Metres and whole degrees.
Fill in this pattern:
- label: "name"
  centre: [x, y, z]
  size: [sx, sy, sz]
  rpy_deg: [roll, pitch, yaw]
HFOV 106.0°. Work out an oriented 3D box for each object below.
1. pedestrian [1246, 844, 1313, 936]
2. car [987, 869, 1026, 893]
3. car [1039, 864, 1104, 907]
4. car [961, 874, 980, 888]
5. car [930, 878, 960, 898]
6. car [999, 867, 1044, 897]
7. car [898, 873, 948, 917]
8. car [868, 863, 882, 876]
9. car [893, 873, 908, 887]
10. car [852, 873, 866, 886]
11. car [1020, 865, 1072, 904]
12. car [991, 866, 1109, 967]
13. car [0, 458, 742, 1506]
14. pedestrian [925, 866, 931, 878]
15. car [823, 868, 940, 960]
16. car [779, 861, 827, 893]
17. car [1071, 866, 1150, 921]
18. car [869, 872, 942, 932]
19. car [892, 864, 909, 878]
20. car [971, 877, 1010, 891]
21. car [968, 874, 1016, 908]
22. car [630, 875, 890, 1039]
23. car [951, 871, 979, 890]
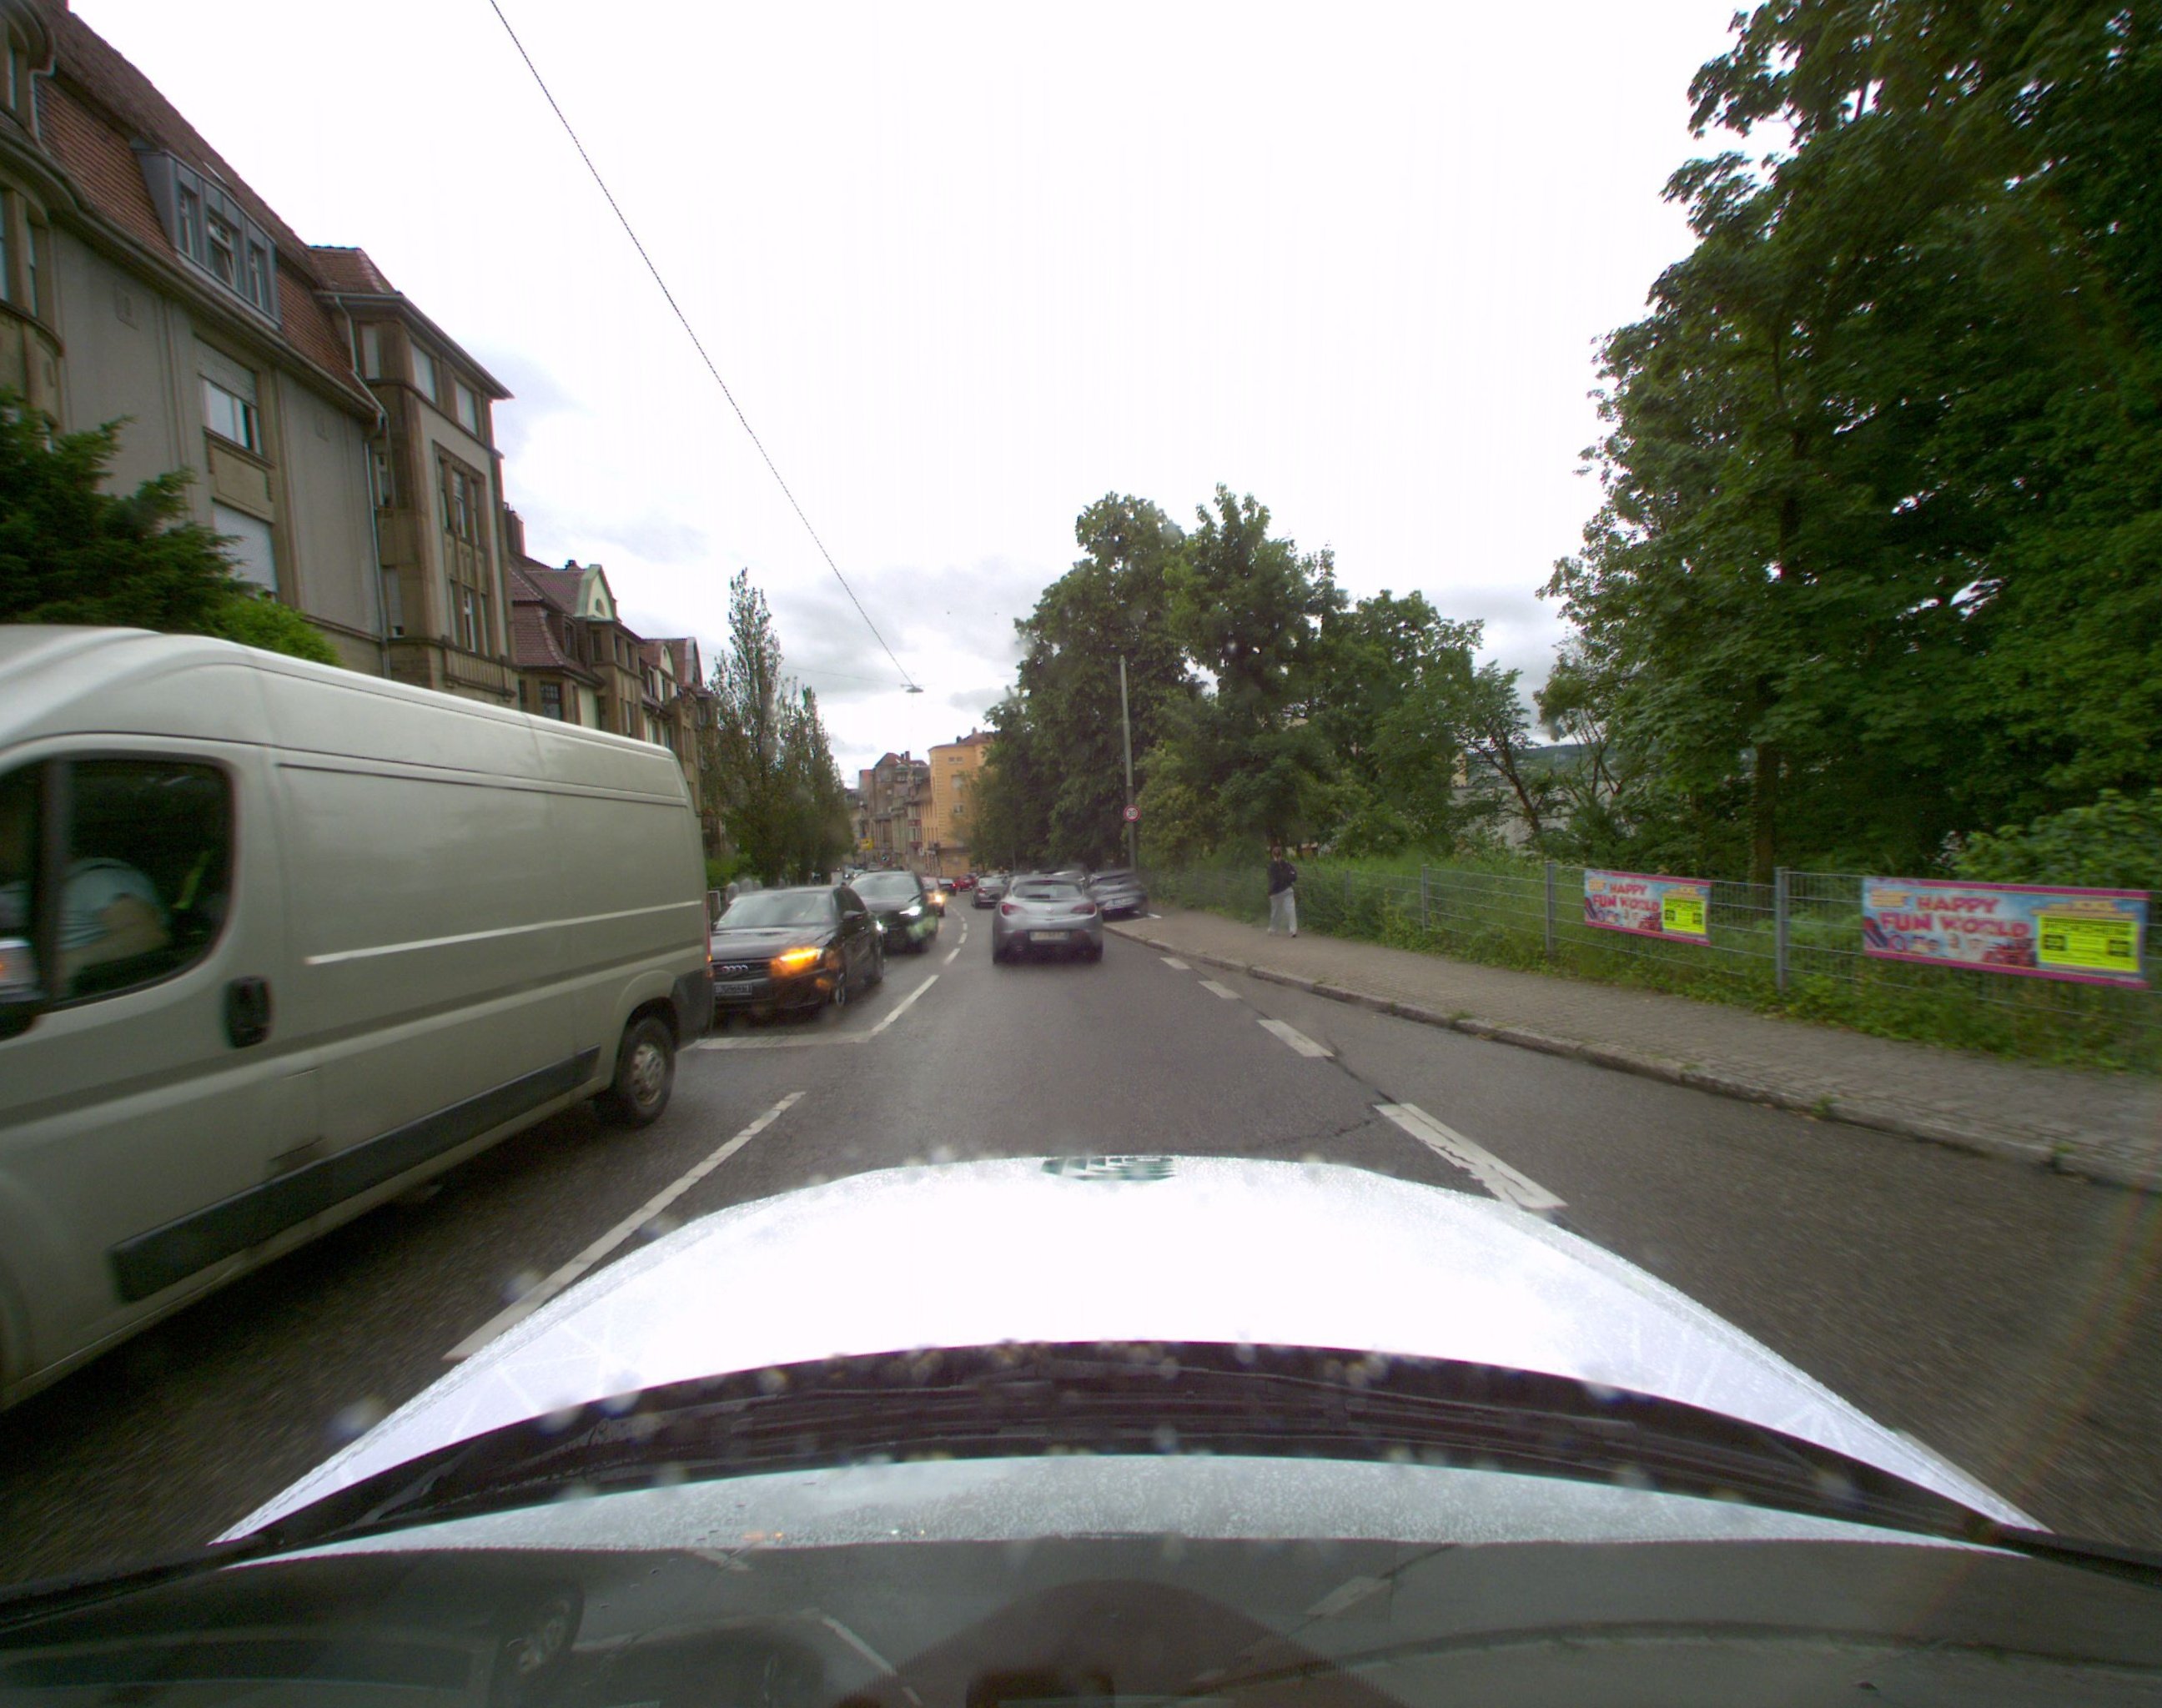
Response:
- label: "pedestrian"
  centre: [3.693, 0.659, 15.223]
  size: [0.765, 1.605, 0.963]
  rpy_deg: [-6, -1, -7]
- label: "car"
  centre: [-5.292, 1.911, 57.198]
  size: [1.979, 1.452, 4.093]
  rpy_deg: [-6, -1, -14]
- label: "car"
  centre: [-0.492, 1.380, 35.416]
  size: [1.818, 1.494, 3.981]
  rpy_deg: [-9, -1, -13]
- label: "car"
  centre: [-12.519, 3.037, 92.359]
  size: [1.772, 1.429, 3.782]
  rpy_deg: [-2, 0, -2]
- label: "car"
  centre: [-10.790, 2.664, 64.450]
  size: [1.773, 1.415, 3.693]
  rpy_deg: [-1, 0, -19]
- label: "car"
  centre: [-3.765, 1.765, 51.059]
  size: [1.979, 1.609, 4.463]
  rpy_deg: [-6, -1, -14]
- label: "car"
  centre: [-6.201, 1.573, 32.284]
  size: [1.654, 1.568, 3.988]
  rpy_deg: [-3, -1, -8]
- label: "car"
  centre: [-33.203, 2.476, 131.093]
  size: [1.788, 1.855, 3.973]
  rpy_deg: [-2, -2, -20]
- label: "car"
  centre: [-22.150, 3.192, 99.811]
  size: [1.643, 1.536, 3.697]
  rpy_deg: [-3, -1, -15]
- label: "car"
  centre: [-31.104, 3.598, 114.150]
  size: [1.826, 1.650, 3.979]
  rpy_deg: [-4, 0, -15]
- label: "car"
  centre: [-1.820, 1.511, 41.037]
  size: [1.822, 1.683, 4.785]
  rpy_deg: [-5, 0, -11]
- label: "car"
  centre: [-0.609, 1.014, 14.880]
  size: [1.811, 1.429, 3.994]
  rpy_deg: [-3, 0, -4]
- label: "car"
  centre: [-3.709, 0.363, 3.504]
  size: [2.111, 2.545, 5.537]
  rpy_deg: [-3, -1, -1]
- label: "pedestrian"
  centre: [-20.283, 2.416, 107.825]
  size: [0.614, 1.496, 0.549]
  rpy_deg: [-3, 2, -16]
- label: "car"
  centre: [-4.051, 1.145, 17.240]
  size: [1.874, 1.575, 4.573]
  rpy_deg: [-3, -1, -8]
- label: "car"
  centre: [-15.098, 1.280, 44.379]
  size: [1.815, 1.612, 3.985]
  rpy_deg: [-2, -2, -10]
- label: "car"
  centre: [0.842, 1.204, 25.589]
  size: [1.649, 1.404, 3.800]
  rpy_deg: [-6, -1, -9]
- label: "car"
  centre: [-4.921, 1.311, 23.359]
  size: [1.773, 1.497, 4.249]
  rpy_deg: [-1, -2, -9]
- label: "car"
  centre: [-27.398, 2.594, 123.534]
  size: [2.000, 1.688, 3.976]
  rpy_deg: [-9, 0, -18]
- label: "car"
  centre: [-9.492, 3.180, 85.578]
  size: [3.785, 1.430, 1.770]
  rpy_deg: [1, -3, -20]
- label: "car"
  centre: [-4.180, 1.688, 37.903]
  size: [1.778, 1.430, 3.768]
  rpy_deg: [-2, -2, -13]
- label: "car"
  centre: [-3.574, 1.046, 9.908]
  size: [1.812, 1.430, 3.992]
  rpy_deg: [-4, -1, -5]
- label: "car"
  centre: [-10.711, 2.418, 74.982]
  size: [1.820, 1.467, 3.977]
  rpy_deg: [-8, 0, -17]
